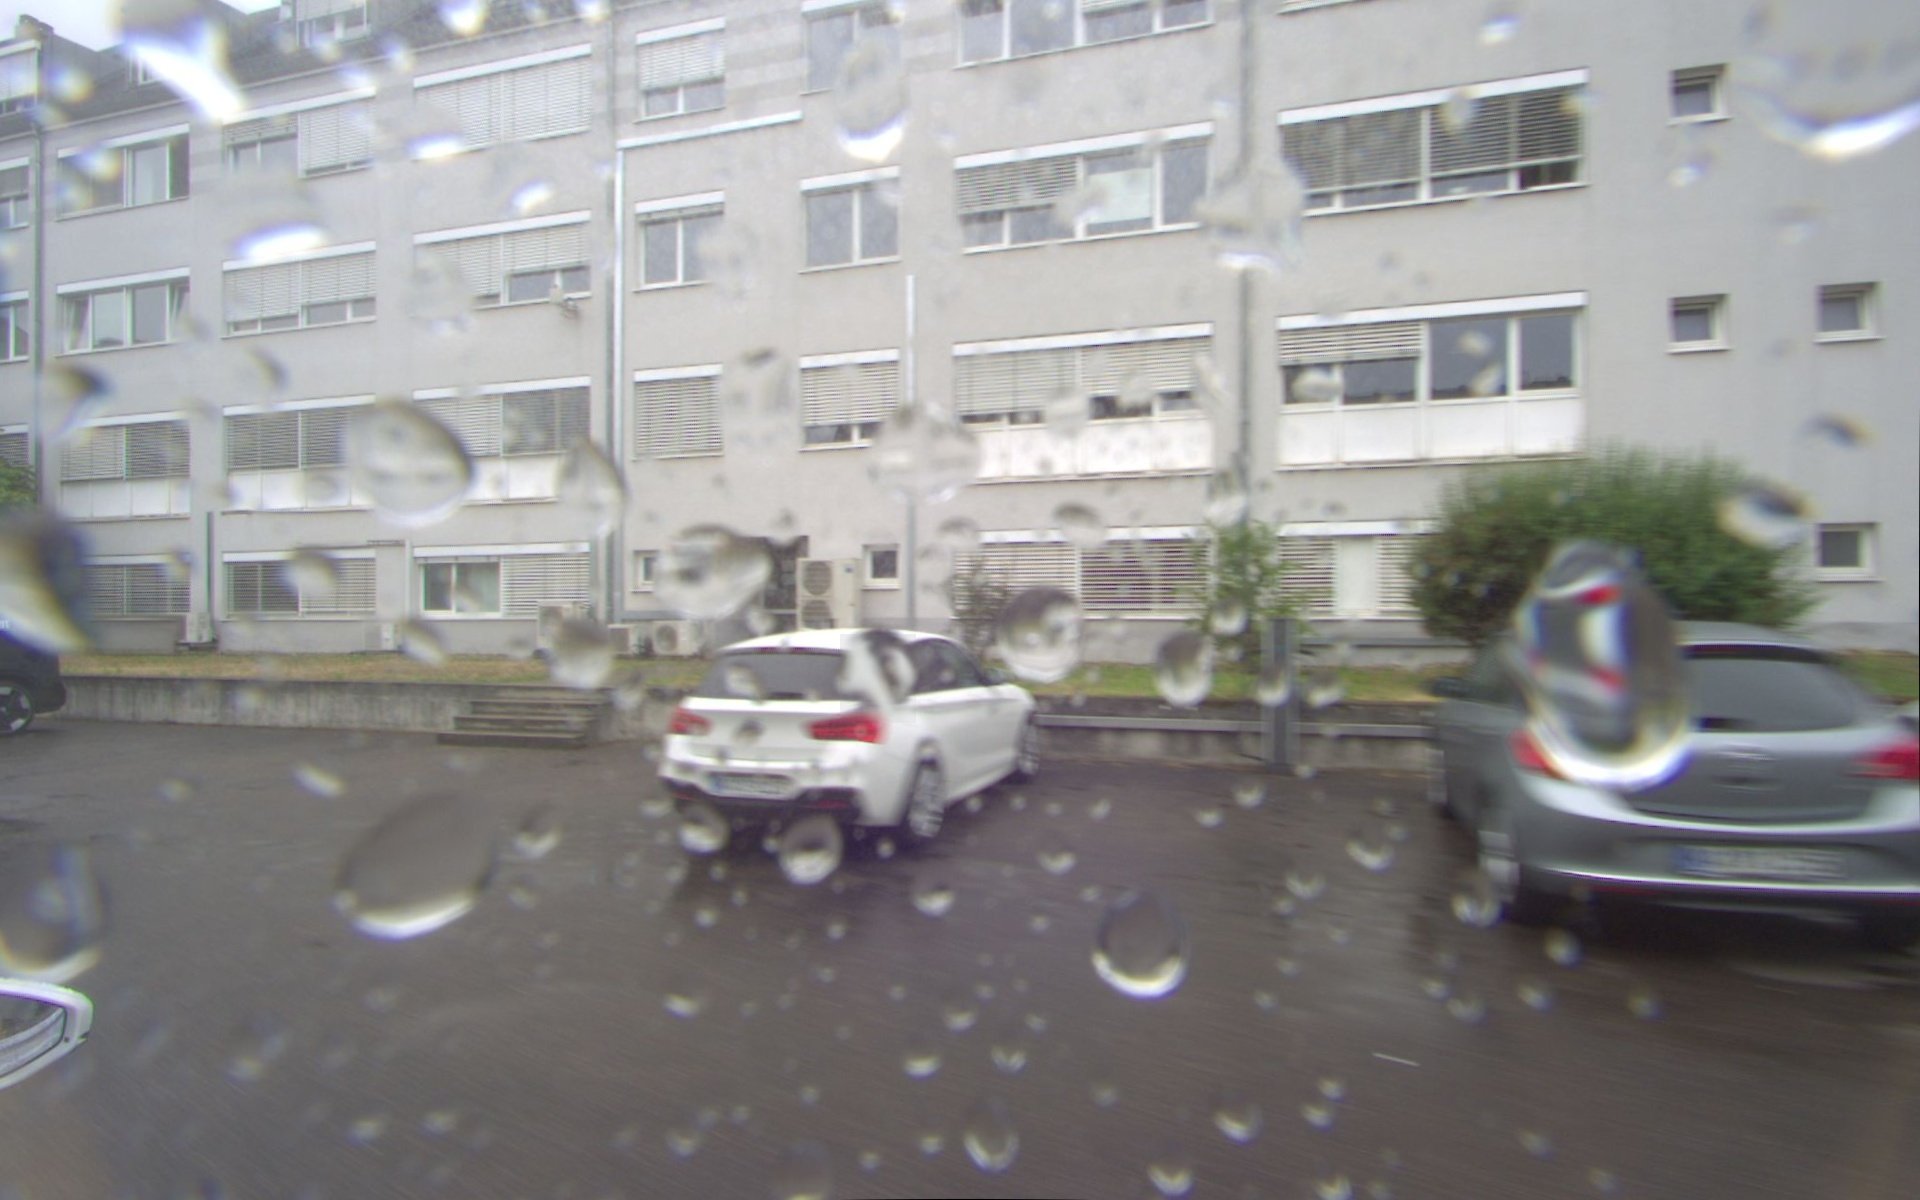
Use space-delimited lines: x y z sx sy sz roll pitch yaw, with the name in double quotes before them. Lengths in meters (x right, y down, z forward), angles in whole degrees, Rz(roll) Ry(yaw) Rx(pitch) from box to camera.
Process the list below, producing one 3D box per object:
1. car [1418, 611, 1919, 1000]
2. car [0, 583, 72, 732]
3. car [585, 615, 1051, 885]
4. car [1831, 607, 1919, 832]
"car" 4.080 0.864 6.062 1.965 1.509 4.214 1 -1 19
"car" -13.699 0.726 11.784 2.009 1.922 4.518 -1 -1 15
"car" -0.751 0.910 8.017 1.965 1.509 4.214 1 -1 19
"car" 7.173 0.846 5.699 1.965 1.510 4.210 1 1 21
